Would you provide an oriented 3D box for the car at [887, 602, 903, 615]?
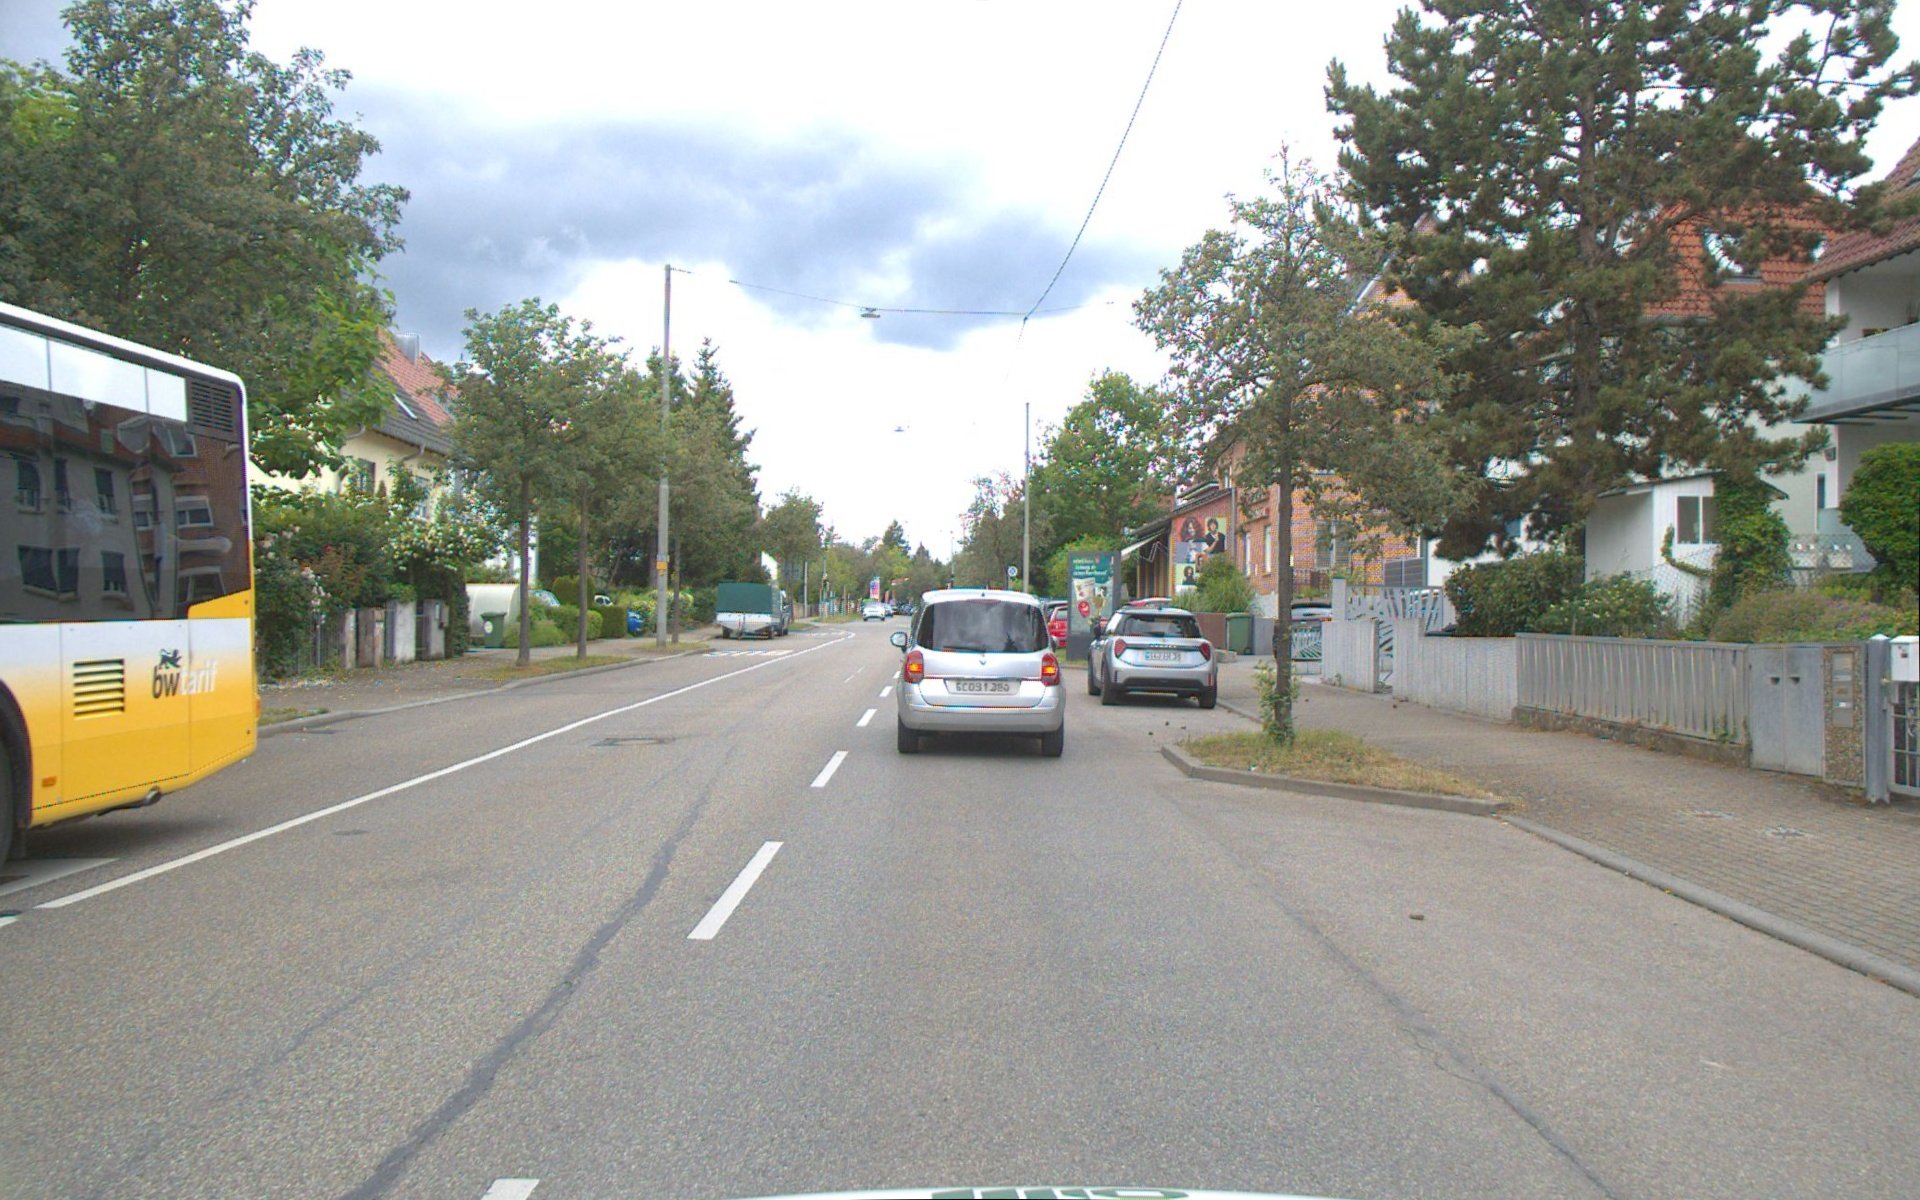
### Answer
[{"bbox_3d":[-7.354,0.969,187.245,1.688,1.436,3.996,1,-1,-4],"label":"car"}]

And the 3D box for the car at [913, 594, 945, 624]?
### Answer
[{"bbox_3d":[-1.769,0.507,94.889,1.792,1.705,3.573,0,0,-1],"label":"car"}]

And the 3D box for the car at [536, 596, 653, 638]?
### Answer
[{"bbox_3d":[-12.752,0.605,57.857,3.915,1.361,1.573,1,-2,-11],"label":"car"}]

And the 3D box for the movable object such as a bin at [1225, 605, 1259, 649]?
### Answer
[{"bbox_3d":[7.314,0.690,42.925,0.760,1.123,0.691,0,0,-2],"label":"movable object such as a bin"}]

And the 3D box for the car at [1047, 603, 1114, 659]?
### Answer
[{"bbox_3d":[3.214,0.795,44.682,1.628,1.417,3.668,-1,0,1],"label":"car"}]

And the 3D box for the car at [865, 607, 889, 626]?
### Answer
[{"bbox_3d":[-7.110,1.434,142.080,1.869,1.646,3.995,1,-1,-6],"label":"car"}]

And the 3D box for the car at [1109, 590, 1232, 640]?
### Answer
[{"bbox_3d":[7.445,0.513,58.619,3.914,1.522,1.806,-3,0,-9],"label":"car"}]

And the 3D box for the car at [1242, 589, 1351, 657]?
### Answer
[{"bbox_3d":[8.265,0.524,40.326,1.781,1.405,4.480,-3,0,22],"label":"car"}]

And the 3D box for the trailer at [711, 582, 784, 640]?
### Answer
[{"bbox_3d":[-8.268,0.448,64.787,2.265,2.123,5.869,1,-1,-2],"label":"trailer"}]

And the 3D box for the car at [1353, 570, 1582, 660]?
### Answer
[{"bbox_3d":[10.559,0.321,34.531,4.181,1.532,1.692,-4,-1,-8],"label":"car"}]

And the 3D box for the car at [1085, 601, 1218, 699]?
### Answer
[{"bbox_3d":[2.916,0.756,25.897,1.616,1.407,3.999,1,-1,0],"label":"car"}]

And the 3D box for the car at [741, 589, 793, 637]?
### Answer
[{"bbox_3d":[-8.350,0.584,71.993,1.850,1.956,4.559,1,-1,-2],"label":"car"}]

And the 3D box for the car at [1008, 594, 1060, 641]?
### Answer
[{"bbox_3d":[2.925,0.708,65.921,1.776,1.773,3.998,-1,-1,-1],"label":"car"}]

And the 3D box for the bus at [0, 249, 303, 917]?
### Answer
[{"bbox_3d":[-5.792,-0.052,5.237,2.578,3.140,12.069,-1,0,0],"label":"bus"}]

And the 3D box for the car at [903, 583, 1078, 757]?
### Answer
[{"bbox_3d":[0.306,0.684,17.417,1.596,1.584,4.000,1,-1,0],"label":"car"}]

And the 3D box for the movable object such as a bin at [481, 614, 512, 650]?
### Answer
[{"bbox_3d":[-11.876,0.827,42.357,0.568,0.917,0.542,-2,-2,43],"label":"movable object such as a bin"}]

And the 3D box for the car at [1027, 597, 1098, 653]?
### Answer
[{"bbox_3d":[3.004,0.711,49.087,1.629,1.592,4.096,0,0,-3],"label":"car"}]
